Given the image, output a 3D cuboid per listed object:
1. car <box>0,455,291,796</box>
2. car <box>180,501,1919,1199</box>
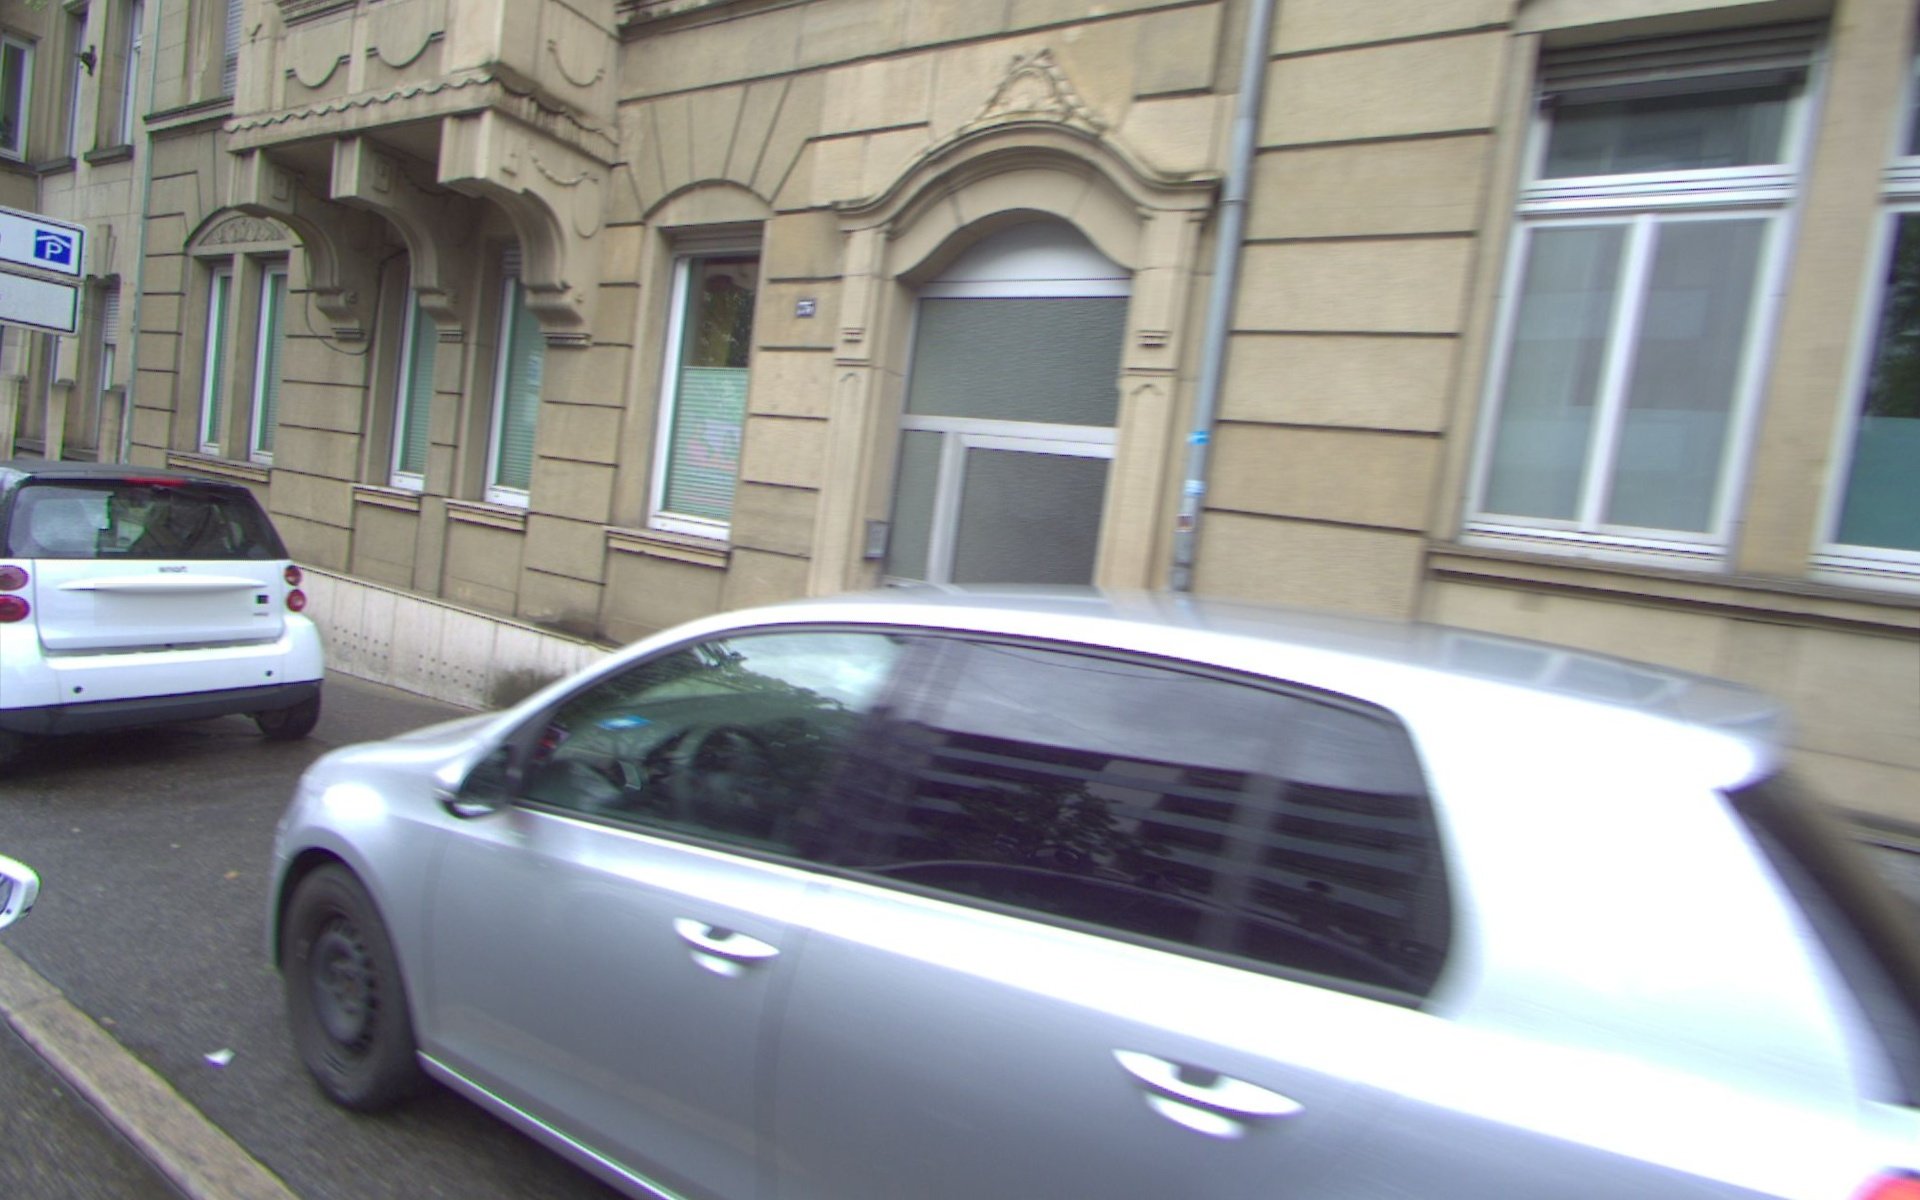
[{"bbox_3d":[-5.318,-0.029,5.845,2.927,1.565,1.298,7,5,32],"label":"car"},{"bbox_3d":[-0.163,0.634,2.648,3.934,1.472,1.758,7,5,32],"label":"car"}]
